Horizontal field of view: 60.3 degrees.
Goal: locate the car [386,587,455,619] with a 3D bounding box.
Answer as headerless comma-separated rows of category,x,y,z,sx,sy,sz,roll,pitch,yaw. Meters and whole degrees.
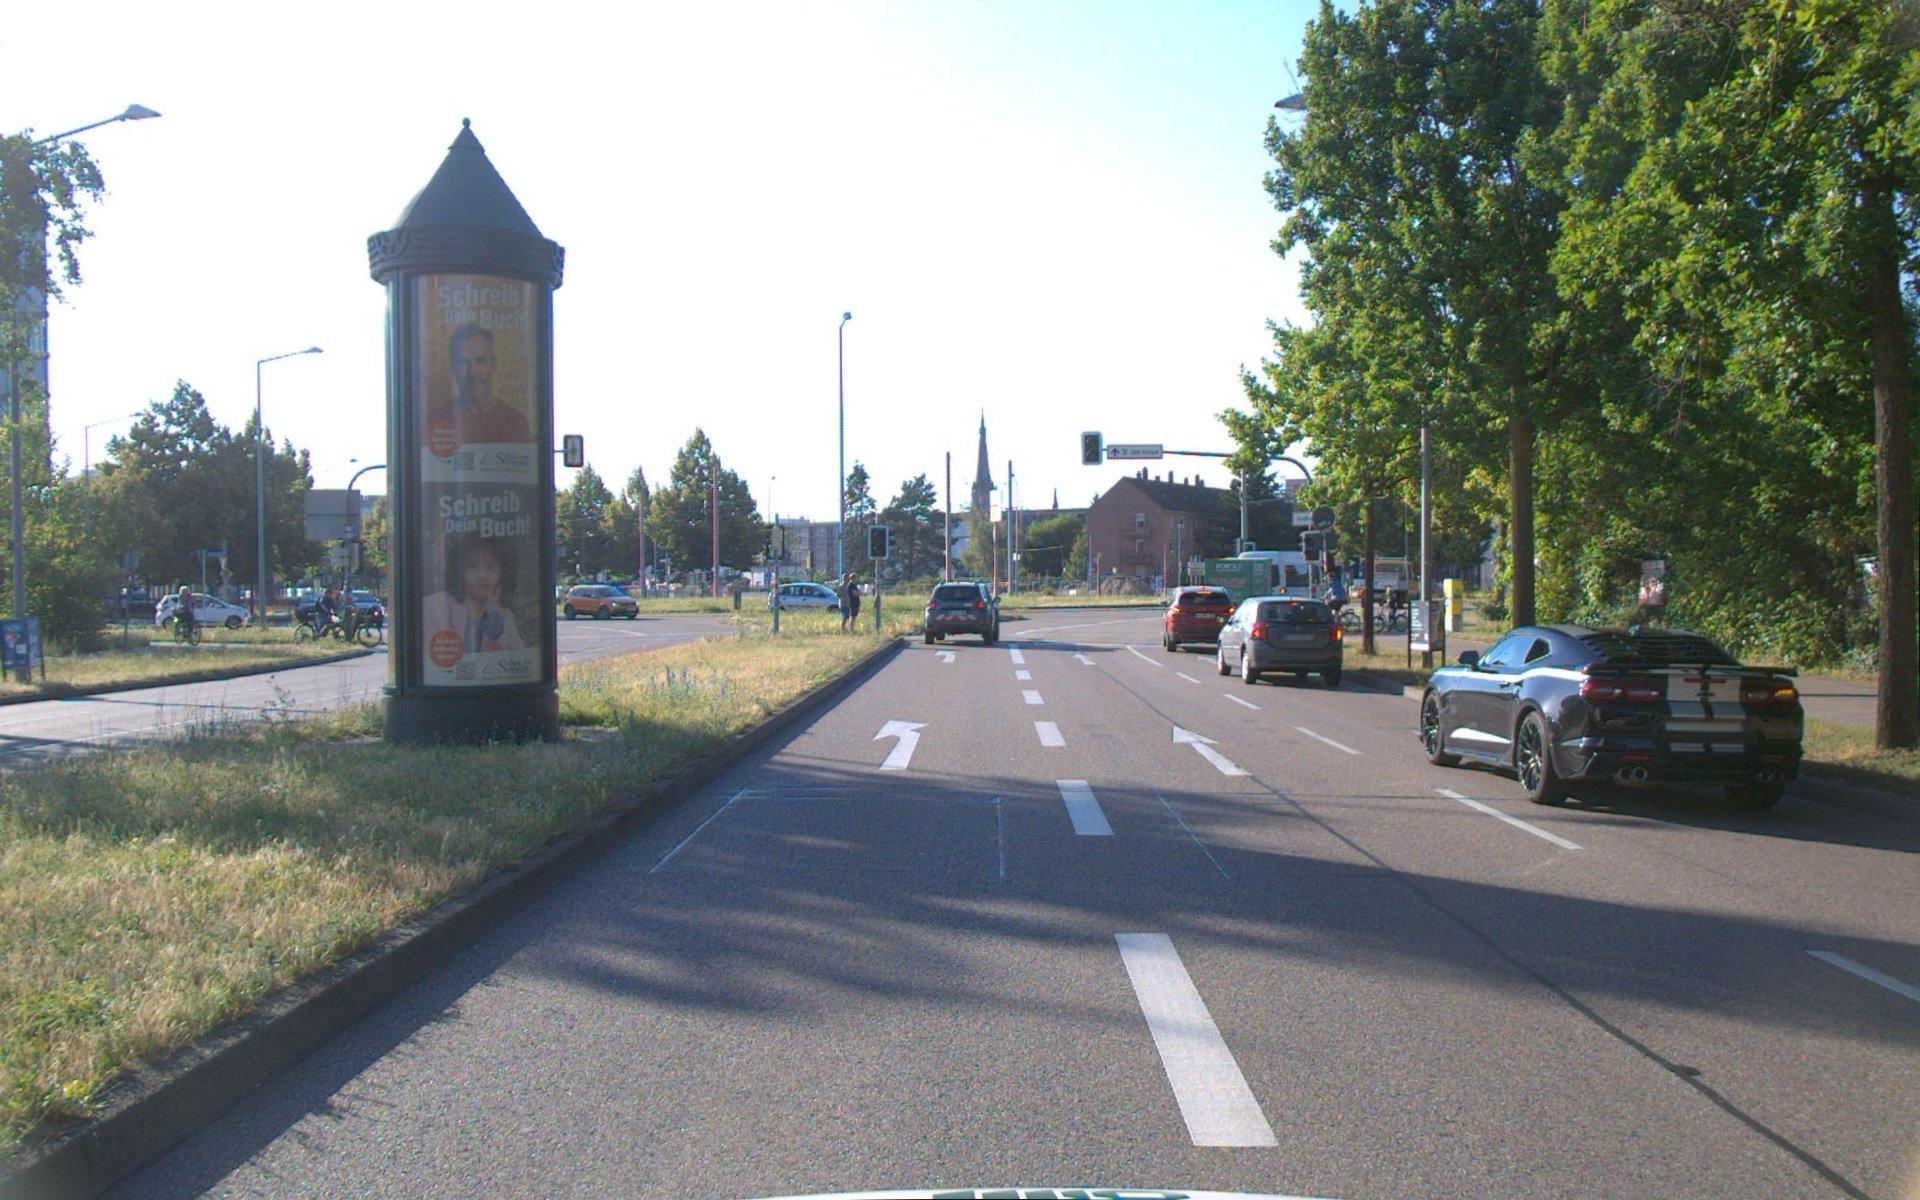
car,-25.337,0.158,77.622,1.657,1.400,4.090,-3,1,-39

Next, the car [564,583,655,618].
car,-15.504,0.020,73.076,4.065,1.470,1.898,0,1,42

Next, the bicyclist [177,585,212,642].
bicyclist,-23.266,0.401,50.251,0.817,1.695,0.705,0,1,44

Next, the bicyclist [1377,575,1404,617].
bicyclist,13.561,-0.133,52.090,0.638,1.317,0.464,-2,1,-17

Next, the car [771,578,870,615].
car,-5.767,-0.140,68.634,3.667,1.459,1.837,-1,1,12

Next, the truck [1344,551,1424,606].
truck,21.032,-1.096,81.821,2.530,2.602,6.246,-1,1,26

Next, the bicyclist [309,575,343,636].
bicyclist,-18.933,0.147,49.373,0.796,1.801,0.496,1,0,16

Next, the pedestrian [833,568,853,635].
pedestrian,-3.312,0.026,46.773,0.476,1.876,0.719,-1,1,1

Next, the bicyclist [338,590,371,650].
bicyclist,-18.554,0.618,50.697,0.795,1.820,0.497,1,0,9

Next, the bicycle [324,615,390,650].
bicycle,-18.468,0.994,50.683,1.867,1.037,0.505,0,0,8

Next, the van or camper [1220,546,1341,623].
van or camper,11.891,-0.604,60.884,2.243,2.675,6.568,1,1,31

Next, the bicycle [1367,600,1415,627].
bicycle,13.570,0.431,52.095,1.436,0.800,0.438,-2,1,-17

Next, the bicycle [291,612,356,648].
bicycle,-19.007,0.904,49.393,1.868,1.037,0.505,0,0,16

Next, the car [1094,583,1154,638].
car,5.142,0.297,52.233,1.568,1.638,4.001,-1,1,1

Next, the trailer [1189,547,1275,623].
trailer,9.158,-0.514,55.573,2.048,2.442,3.500,1,1,23

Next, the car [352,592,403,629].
car,-24.768,0.419,70.279,1.646,1.466,3.587,-3,1,-25

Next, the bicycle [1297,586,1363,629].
bicycle,11.375,0.235,50.890,1.873,1.266,0.606,-2,0,38

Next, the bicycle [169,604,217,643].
bicycle,-23.329,0.714,50.322,1.792,1.138,0.721,-1,0,44

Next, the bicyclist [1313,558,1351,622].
bicyclist,11.437,-0.308,50.828,0.921,1.932,0.599,-2,0,37

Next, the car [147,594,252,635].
car,-31.658,0.582,68.885,3.916,1.534,1.832,-2,1,-27

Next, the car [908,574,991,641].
car,-0.341,0.178,44.690,1.868,1.689,3.995,-1,0,-6

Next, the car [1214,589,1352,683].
car,5.675,0.582,29.474,1.711,1.499,3.820,-1,1,0

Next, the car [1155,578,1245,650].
car,6.060,0.321,42.165,1.711,1.649,3.820,2,1,0

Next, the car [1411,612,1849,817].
car,5.320,0.818,13.885,1.816,1.361,4.625,2,0,0

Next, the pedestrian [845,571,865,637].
pedestrian,-3.031,0.106,47.884,0.475,1.876,0.672,-1,0,4
